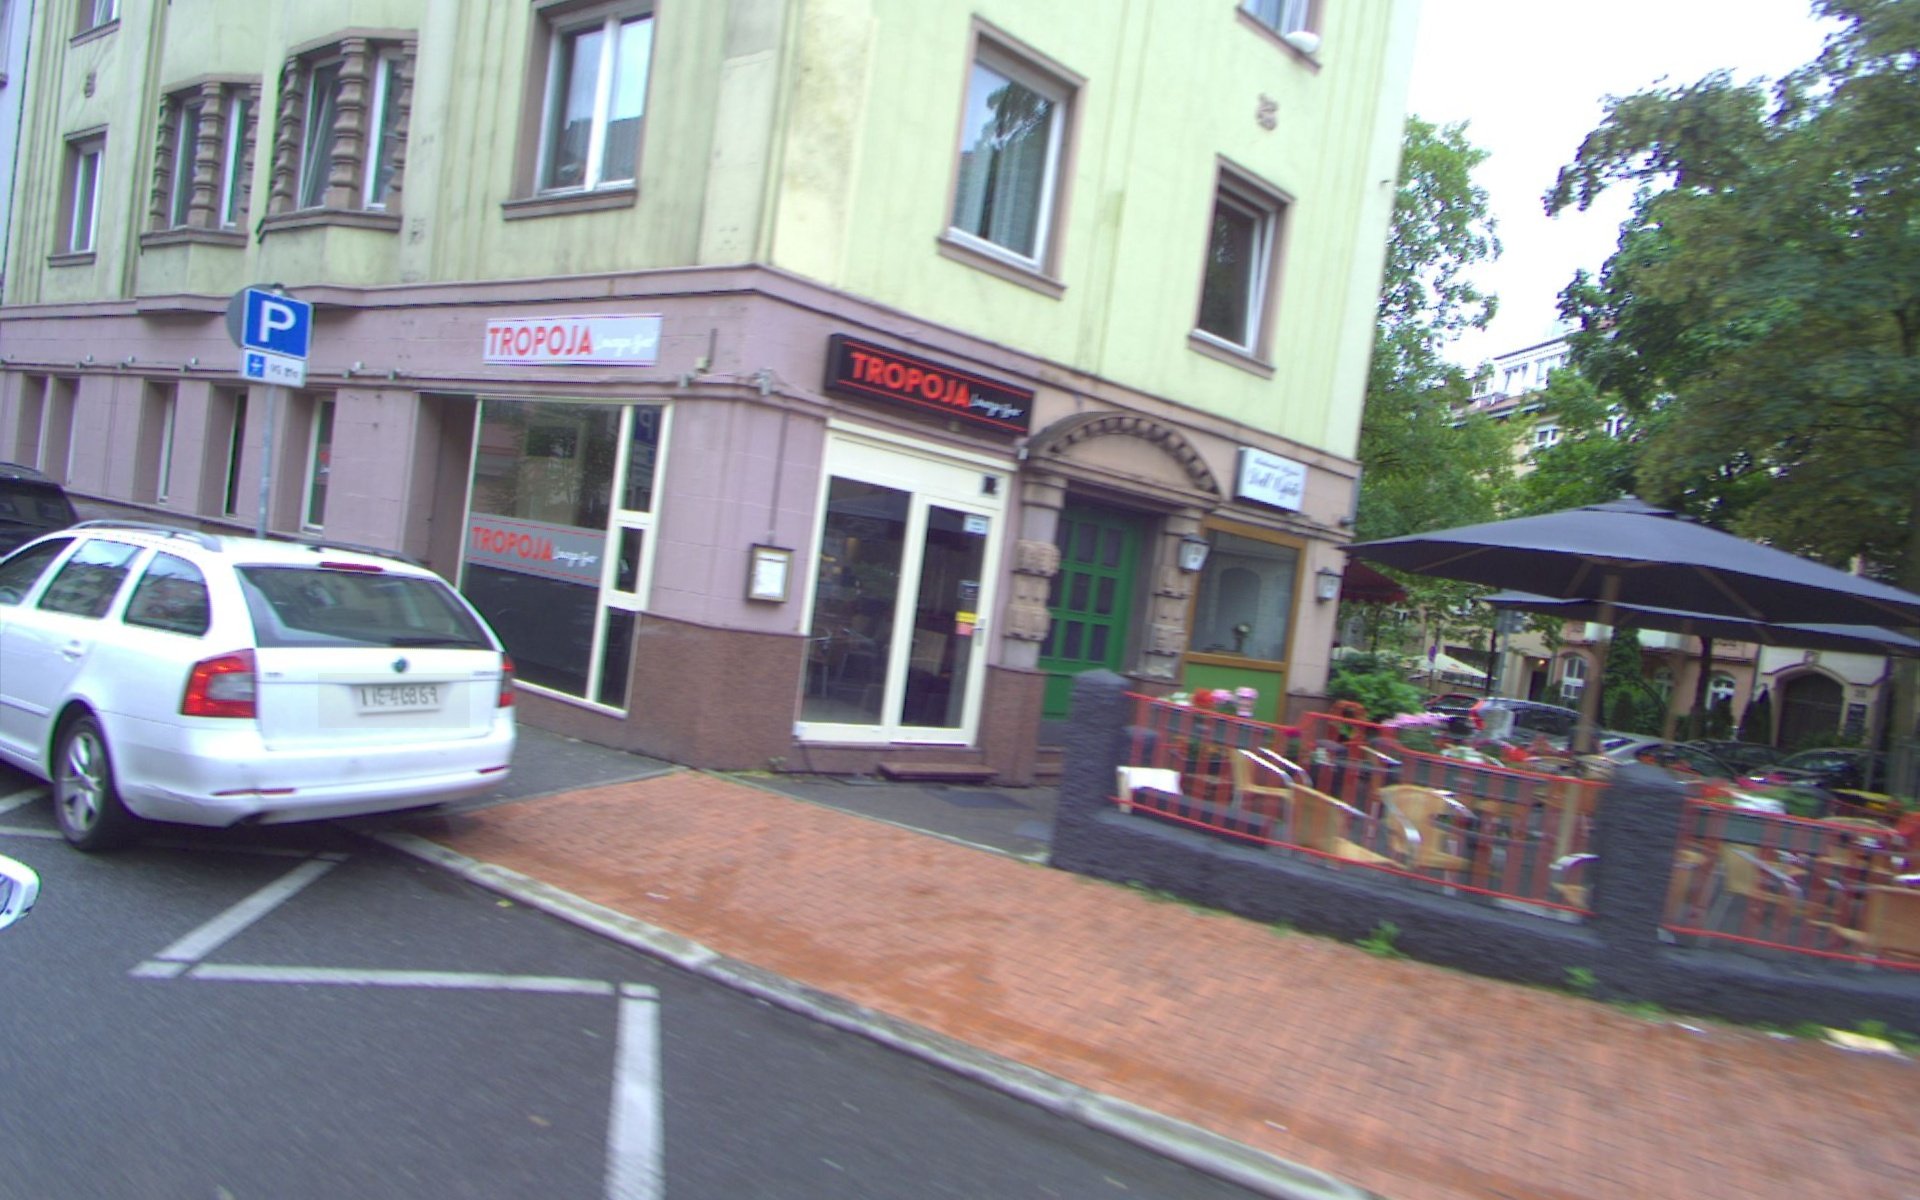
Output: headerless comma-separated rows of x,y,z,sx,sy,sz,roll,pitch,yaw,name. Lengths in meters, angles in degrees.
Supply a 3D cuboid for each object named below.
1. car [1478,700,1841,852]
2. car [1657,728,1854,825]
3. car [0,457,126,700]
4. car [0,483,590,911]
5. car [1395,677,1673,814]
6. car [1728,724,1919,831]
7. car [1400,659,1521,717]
10.864,2.715,15.768,4.570,1.546,1.791,8,-1,-8,car
19.266,4.259,24.437,3.590,1.686,1.589,8,-1,-8,car
-9.046,-0.393,8.259,4.599,1.752,1.882,6,-1,32,car
-4.434,0.284,5.801,4.417,1.583,1.802,7,-1,30,car
10.251,2.583,18.098,3.932,1.747,1.791,8,-1,-8,car
19.075,3.851,21.689,3.718,1.686,1.678,8,-1,-5,car
18.591,3.258,37.418,3.590,1.554,1.680,8,-1,-8,car
